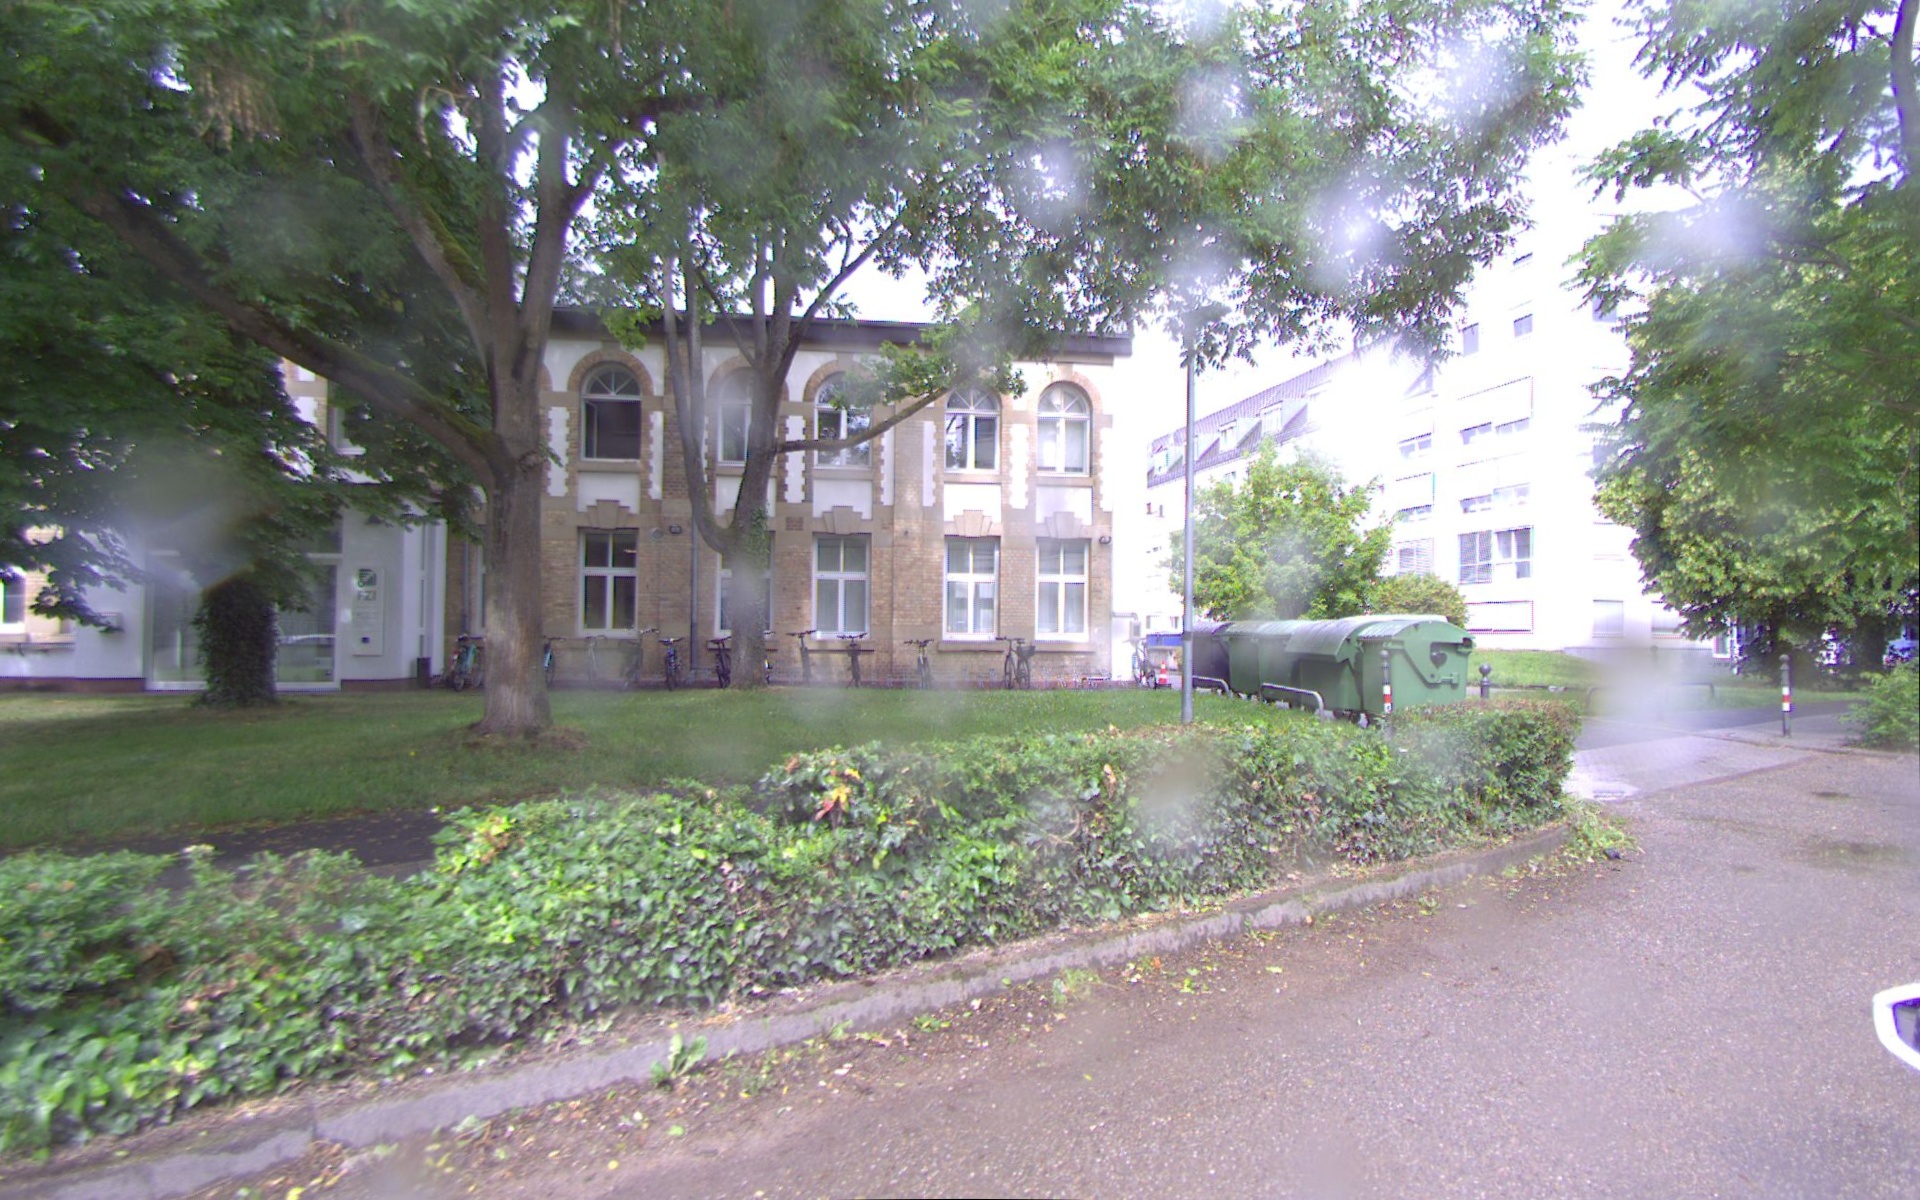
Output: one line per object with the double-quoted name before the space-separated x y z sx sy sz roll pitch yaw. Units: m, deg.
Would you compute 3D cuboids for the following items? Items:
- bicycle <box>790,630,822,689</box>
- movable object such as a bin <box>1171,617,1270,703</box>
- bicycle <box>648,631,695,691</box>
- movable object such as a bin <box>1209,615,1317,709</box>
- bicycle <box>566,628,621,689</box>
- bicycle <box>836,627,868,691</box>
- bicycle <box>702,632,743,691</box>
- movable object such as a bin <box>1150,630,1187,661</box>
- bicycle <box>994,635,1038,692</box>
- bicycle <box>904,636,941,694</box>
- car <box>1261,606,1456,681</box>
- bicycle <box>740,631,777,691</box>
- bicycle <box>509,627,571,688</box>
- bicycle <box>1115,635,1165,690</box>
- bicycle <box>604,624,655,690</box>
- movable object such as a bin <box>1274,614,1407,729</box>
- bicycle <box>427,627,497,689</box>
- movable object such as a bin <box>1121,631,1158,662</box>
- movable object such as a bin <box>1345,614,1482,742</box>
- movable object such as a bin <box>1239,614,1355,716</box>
"bicycle" -3.122 1.195 20.450 0.606 1.130 1.925 0 -2 -7
"movable object such as a bin" 4.792 1.088 18.593 1.148 1.502 1.591 0 -2 -13
"bicycle" -5.733 1.196 20.019 0.606 1.130 1.925 0 -2 -7
"movable object such as a bin" 5.122 1.034 17.074 1.148 1.502 1.494 0 -2 -13
"bicycle" -7.197 1.135 19.825 0.606 1.130 1.925 0 -2 -7
"bicycle" -2.219 1.196 20.572 0.606 1.240 1.925 0 -2 -7
"bicycle" -4.764 1.219 20.224 0.606 1.130 1.925 0 -2 -7
"movable object such as a bin" 9.150 1.987 44.143 1.272 1.354 1.196 0 -2 -6
"bicycle" 1.156 1.310 21.045 0.606 1.130 1.786 0 -2 -7
"bicycle" -0.788 1.322 20.805 0.606 1.130 1.786 0 -2 -7
"car" 11.384 1.257 28.907 4.797 1.951 2.098 2 -3 -6
"bicycle" -4.045 1.209 20.245 0.606 1.130 1.925 0 -2 -7
"bicycle" -8.118 1.097 19.473 0.606 1.130 1.925 0 -2 -7
"bicycle" 3.836 1.320 21.525 0.606 1.130 1.519 0 -2 -7
"bicycle" -6.507 1.097 19.856 0.606 1.193 1.924 0 0 -7
"movable object such as a bin" 5.329 0.971 14.170 1.148 1.503 1.399 1 0 -14
"bicycle" -9.517 1.091 19.262 0.606 1.130 1.925 0 -2 -7
"movable object such as a bin" 7.841 2.024 43.961 1.316 1.309 1.094 0 -1 -6
"movable object such as a bin" 5.668 0.951 12.673 1.082 1.492 1.486 1 -2 3
"movable object such as a bin" 5.200 0.976 15.592 1.148 1.503 1.400 1 -1 -12
